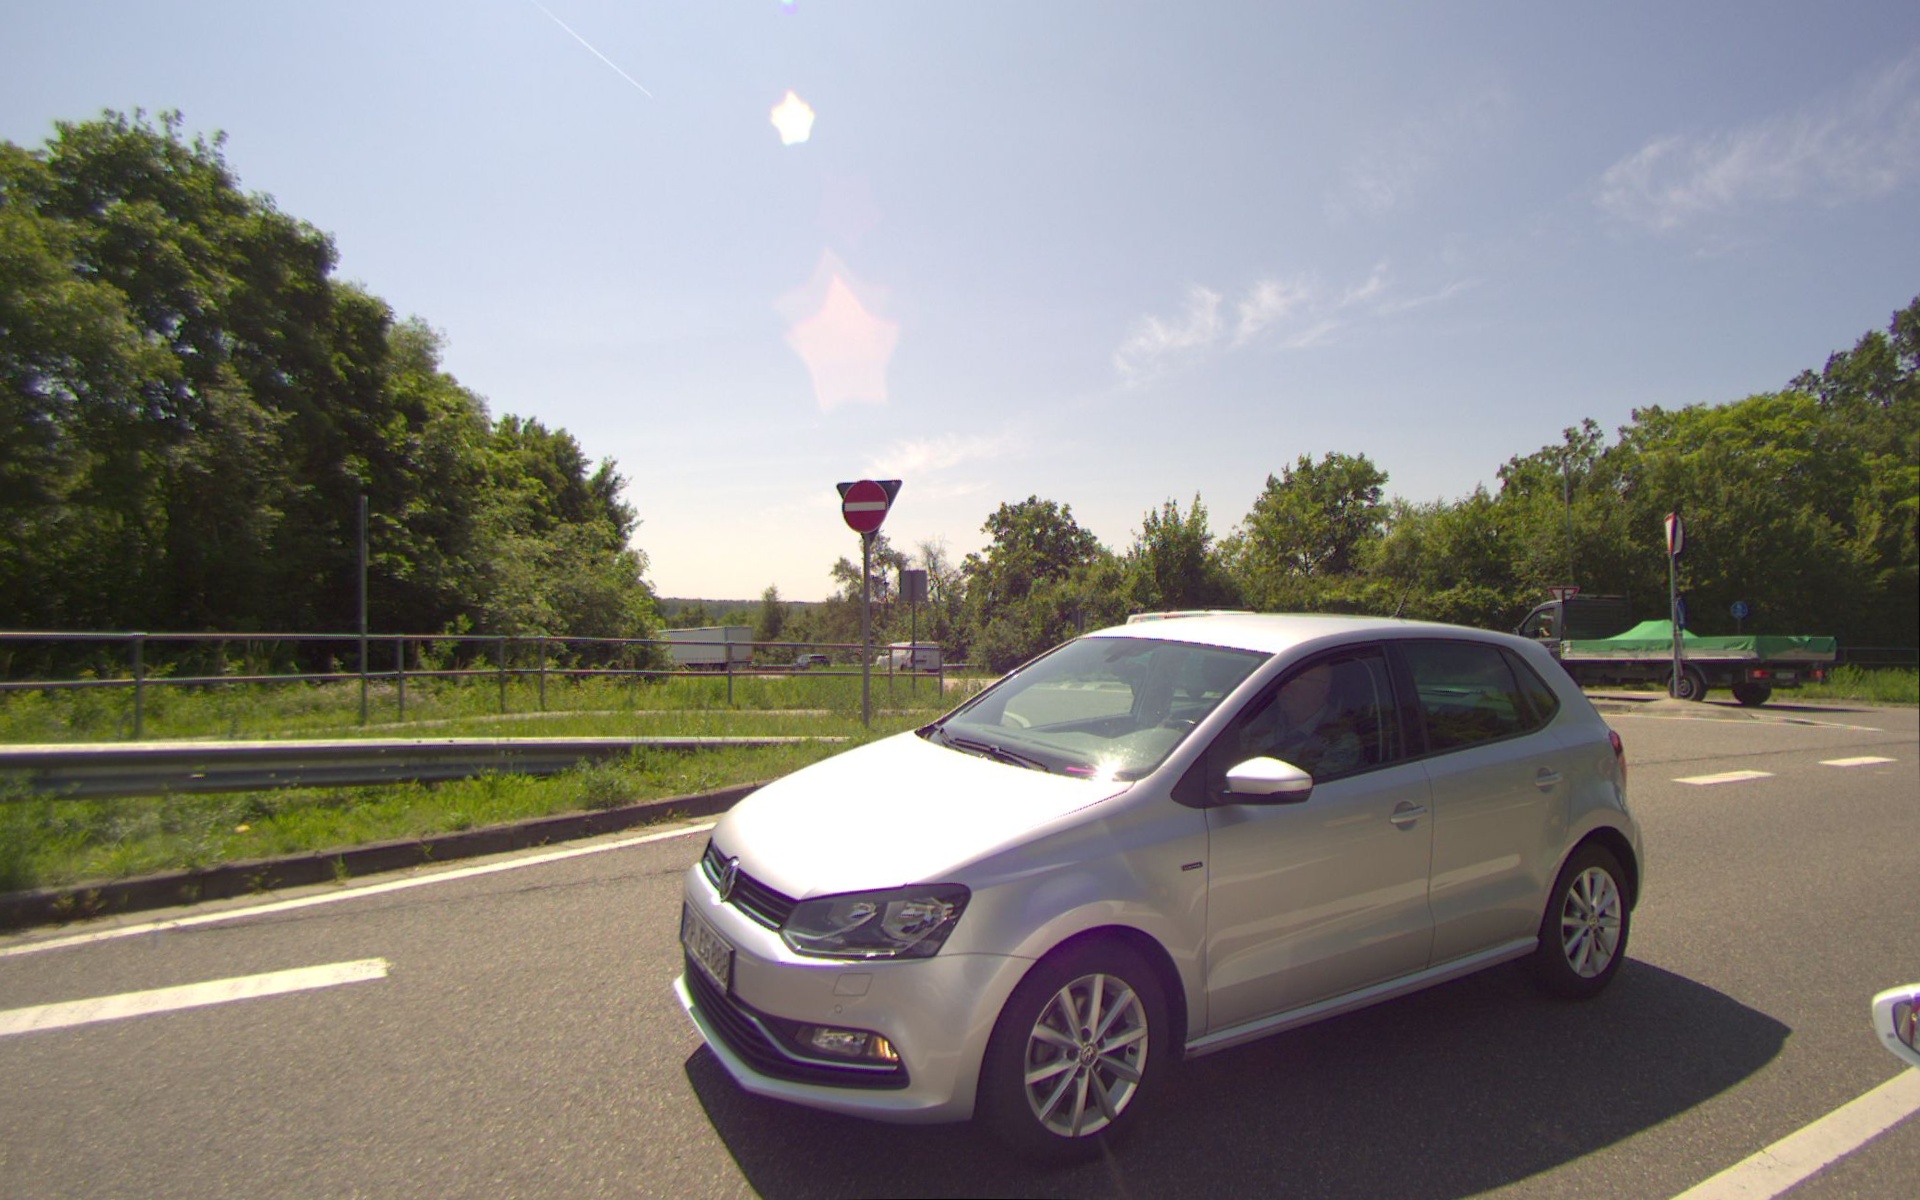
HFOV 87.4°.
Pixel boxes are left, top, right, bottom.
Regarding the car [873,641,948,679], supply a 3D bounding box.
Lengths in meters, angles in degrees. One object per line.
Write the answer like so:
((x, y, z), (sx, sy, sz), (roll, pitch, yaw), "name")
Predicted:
((-2.708, 3.181, 53.791), (1.992, 1.949, 5.157), (1, -3, -28), "car")

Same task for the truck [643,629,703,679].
((-25.888, 4.809, 90.453), (2.975, 4.331, 5.859), (1, -3, -41), "truck")

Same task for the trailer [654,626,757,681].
((-21.964, 4.557, 85.918), (2.974, 4.331, 13.634), (1, -3, -40), "trailer")

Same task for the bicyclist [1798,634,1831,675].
((29.588, 1.894, 34.784), (0.597, 1.381, 0.690), (0, 0, 5), "bicyclist")

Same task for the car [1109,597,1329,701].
((5.574, 1.136, 22.459), (1.972, 2.054, 5.160), (1, -4, -24), "car")

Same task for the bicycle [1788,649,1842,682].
((29.599, 2.263, 34.780), (1.452, 1.128, 0.437), (1, -1, 4), "bicycle")

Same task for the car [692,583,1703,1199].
((1.044, 0.728, 3.901), (3.722, 1.437, 1.636), (2, -1, -30), "car")

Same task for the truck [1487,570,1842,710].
((15.073, 0.923, 22.232), (2.110, 2.598, 6.620), (1, -3, -15), "truck")

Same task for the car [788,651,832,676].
((-10.096, 4.263, 67.360), (1.748, 1.616, 3.903), (1, -4, -27), "car")

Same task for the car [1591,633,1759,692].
((22.080, 1.907, 31.153), (3.919, 1.684, 1.679), (0, -1, 8), "car")
